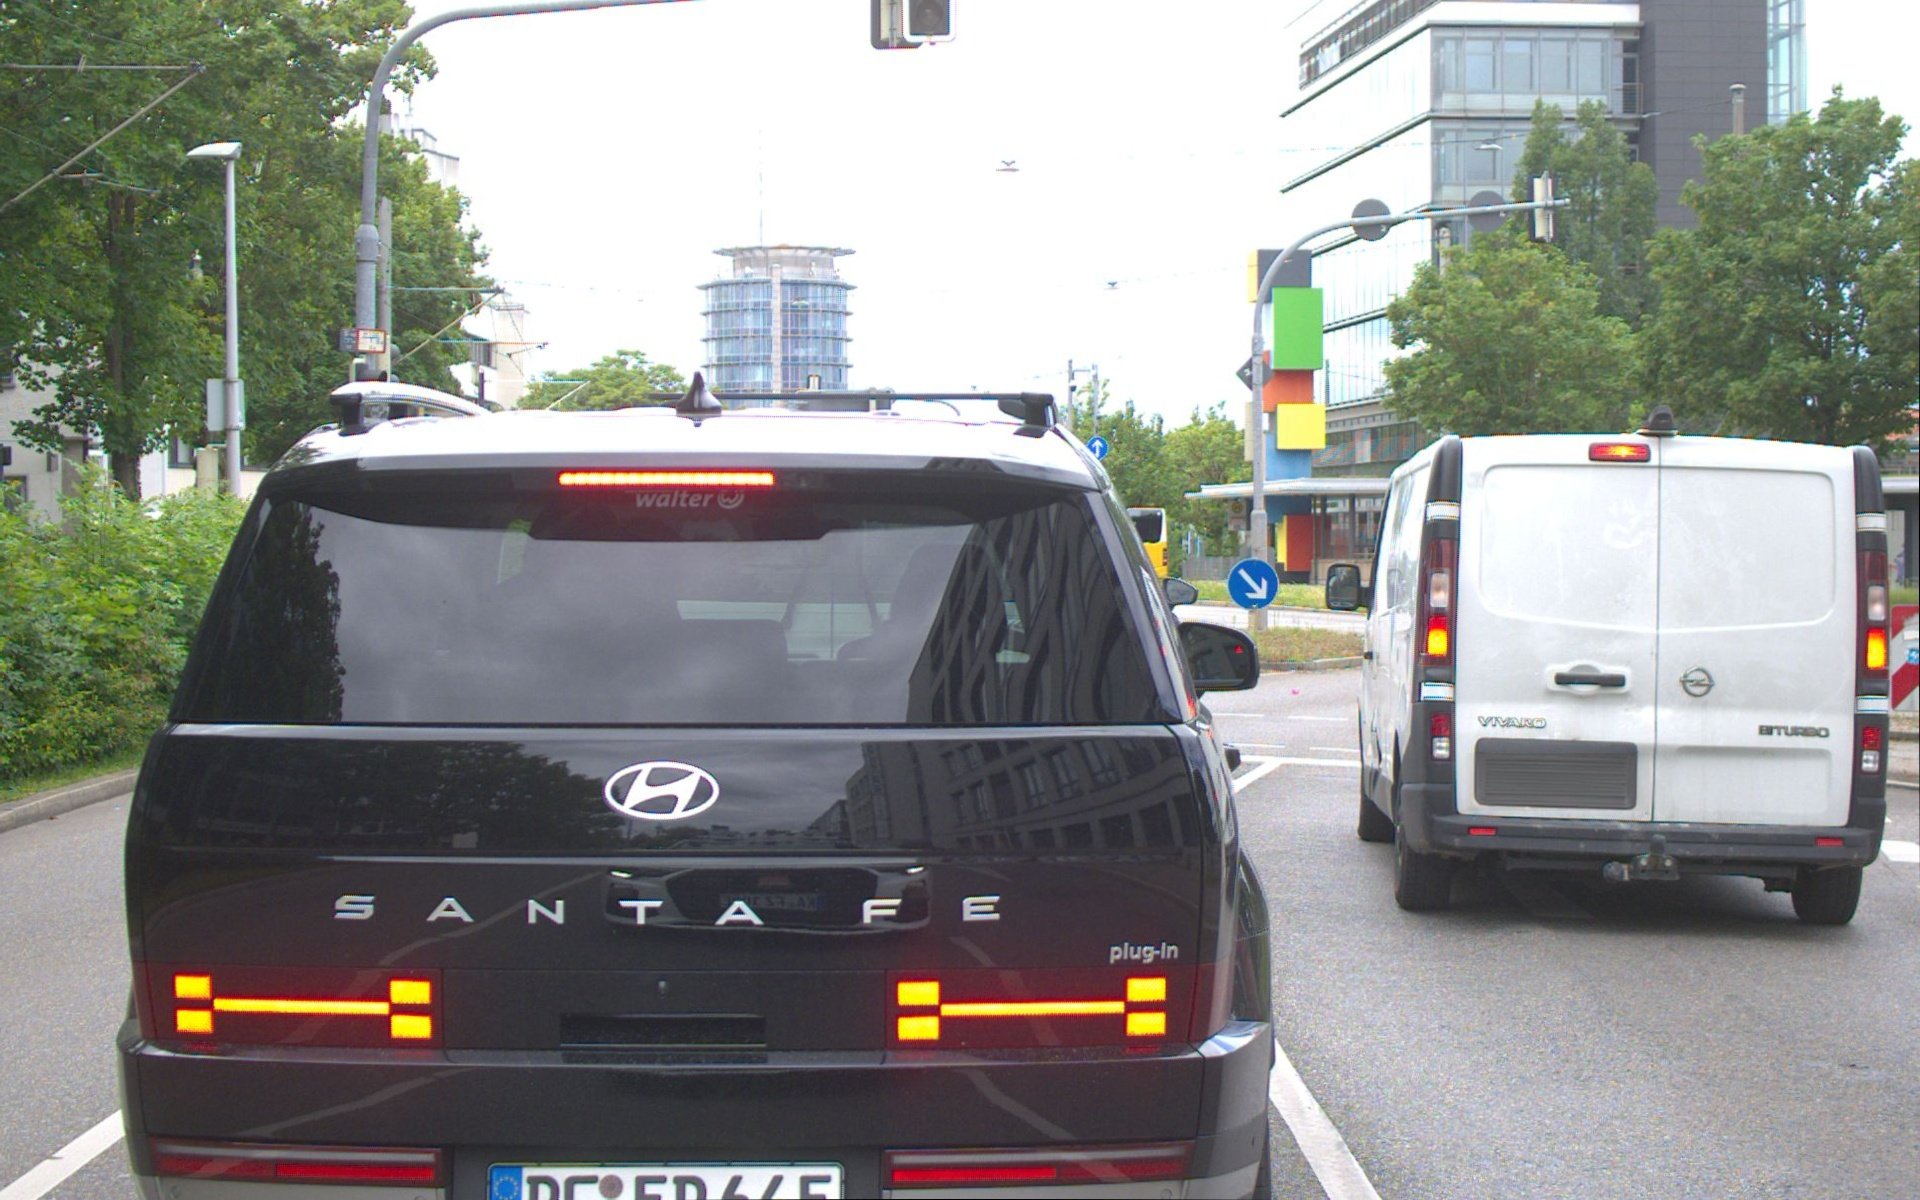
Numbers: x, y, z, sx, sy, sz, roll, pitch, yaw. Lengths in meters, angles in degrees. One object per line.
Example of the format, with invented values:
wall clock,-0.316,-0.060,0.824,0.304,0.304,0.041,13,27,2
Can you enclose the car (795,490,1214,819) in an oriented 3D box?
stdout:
car,0.382,0.263,20.268,1.776,1.711,4.336,1,0,10

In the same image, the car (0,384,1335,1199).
car,-0.432,0.543,6.727,1.869,1.754,3.880,0,1,-1

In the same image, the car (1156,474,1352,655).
car,3.409,-0.415,40.543,1.993,2.007,4.000,1,0,1

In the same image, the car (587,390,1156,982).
car,-0.321,0.254,13.566,1.915,1.996,3.880,0,1,-1

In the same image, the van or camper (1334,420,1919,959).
van or camper,2.770,0.289,15.274,1.994,2.007,4.652,1,1,4

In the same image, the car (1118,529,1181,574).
car,7.239,-1.840,131.858,1.993,1.678,4.000,0,0,-3
